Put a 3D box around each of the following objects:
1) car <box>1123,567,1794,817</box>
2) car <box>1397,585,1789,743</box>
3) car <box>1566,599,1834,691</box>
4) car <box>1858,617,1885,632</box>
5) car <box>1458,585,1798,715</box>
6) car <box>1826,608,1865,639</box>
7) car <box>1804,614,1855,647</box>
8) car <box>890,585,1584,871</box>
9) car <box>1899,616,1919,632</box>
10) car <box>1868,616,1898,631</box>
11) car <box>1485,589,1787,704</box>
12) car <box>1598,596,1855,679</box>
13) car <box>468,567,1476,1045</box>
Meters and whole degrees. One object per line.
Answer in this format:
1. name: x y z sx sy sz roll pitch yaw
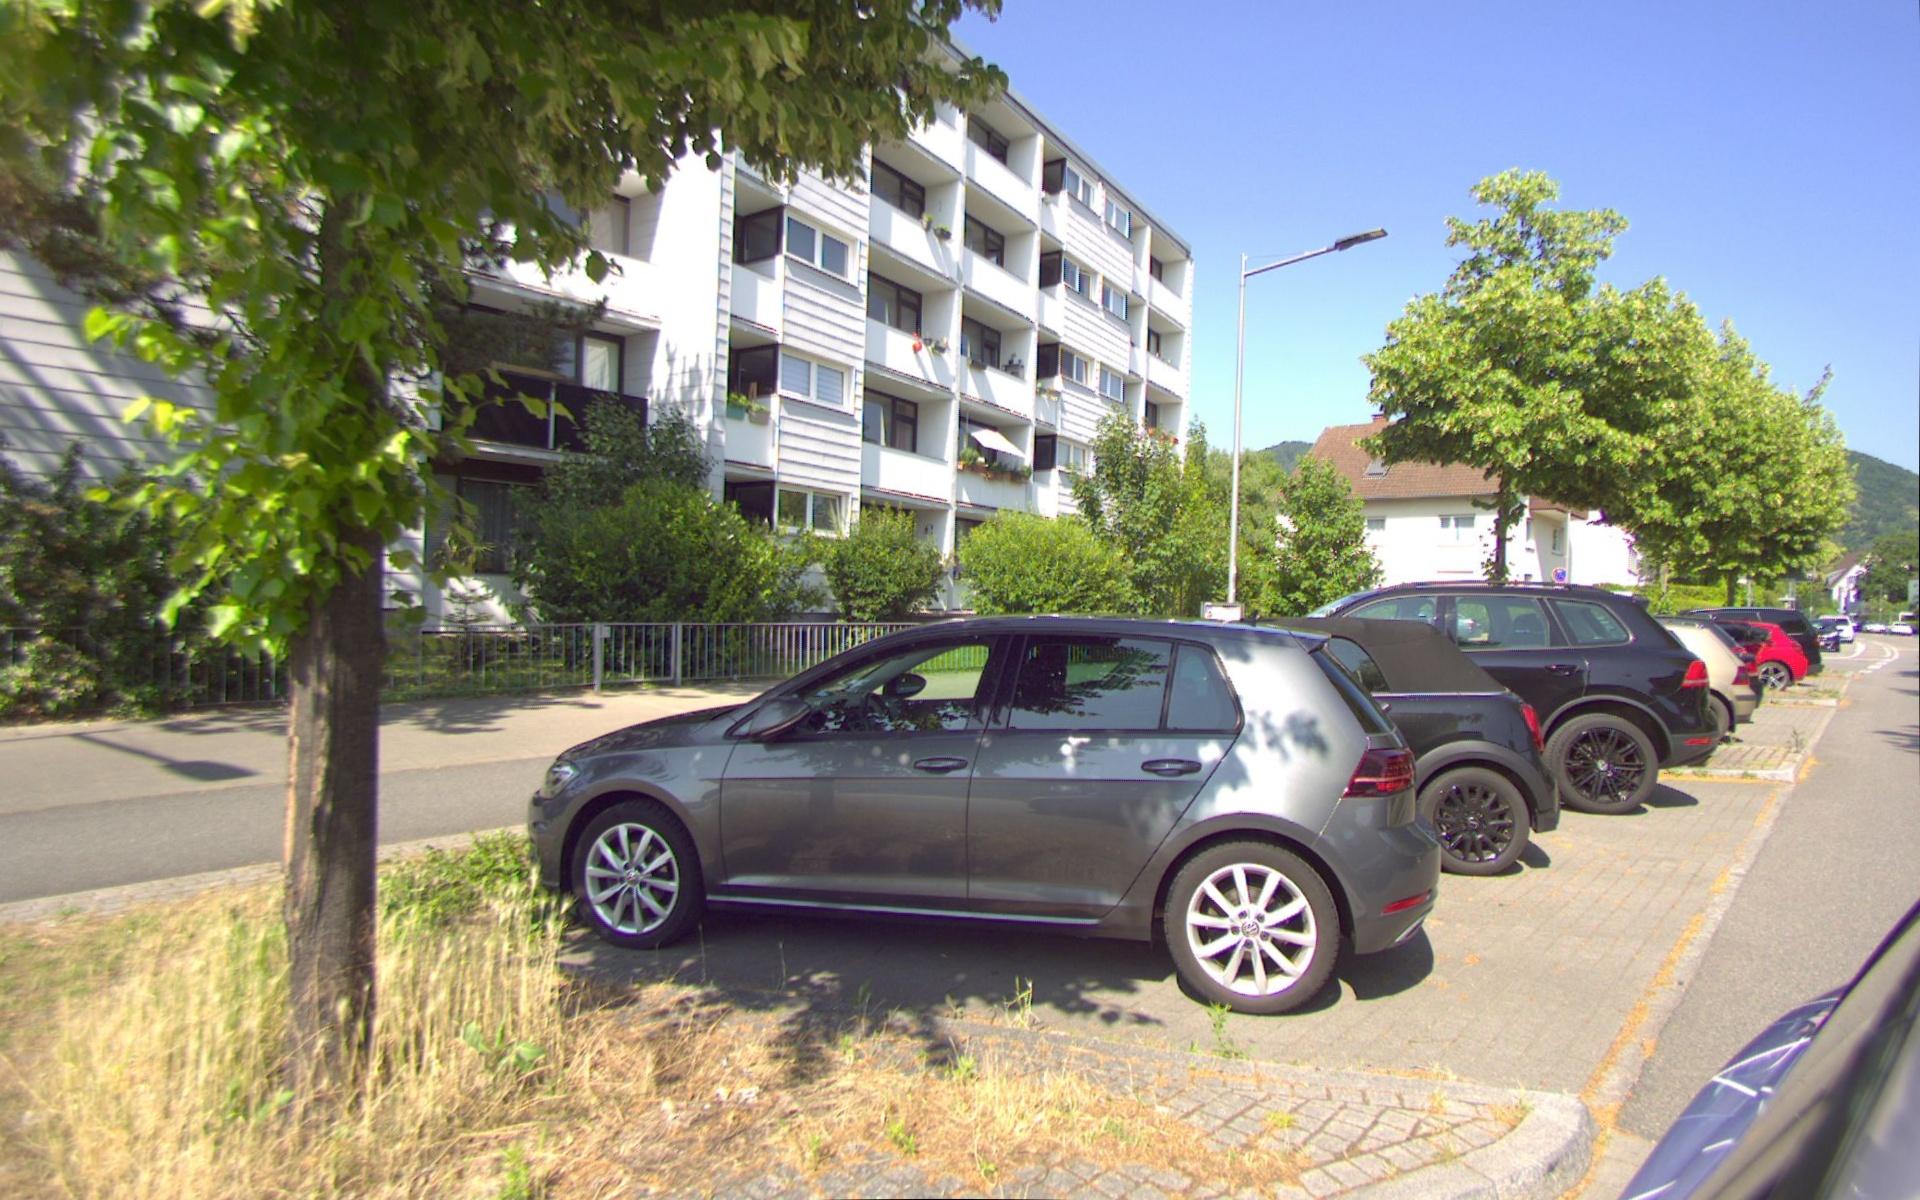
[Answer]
1. car: 3.824 0.631 8.597 4.676 1.681 1.745 2 0 14
2. car: 7.859 0.693 12.904 3.971 1.660 1.732 2 0 33
3. car: 14.887 0.859 20.556 3.930 1.660 1.878 1 1 6
4. car: 111.706 2.985 124.056 1.987 1.705 3.949 2 0 35
5. car: 9.775 0.681 15.214 3.954 1.661 1.739 2 -1 23
6. car: 56.095 1.448 64.139 1.760 1.850 4.531 -1 -1 40
7. car: 39.241 1.345 45.648 1.616 1.408 3.938 -1 -1 43
8. car: 1.669 0.696 6.856 3.939 1.492 1.762 1 0 12
9. car: 101.501 2.556 107.549 1.947 1.571 3.950 2 1 35
10. car: 107.894 2.683 118.328 1.987 1.638 3.949 2 0 35
11. car: 11.159 0.696 17.075 3.958 1.660 1.785 2 0 25
12. car: 17.093 0.791 22.798 4.055 1.660 2.038 2 0 11
13. car: 0.025 0.675 4.926 4.059 1.549 1.990 1 0 16
